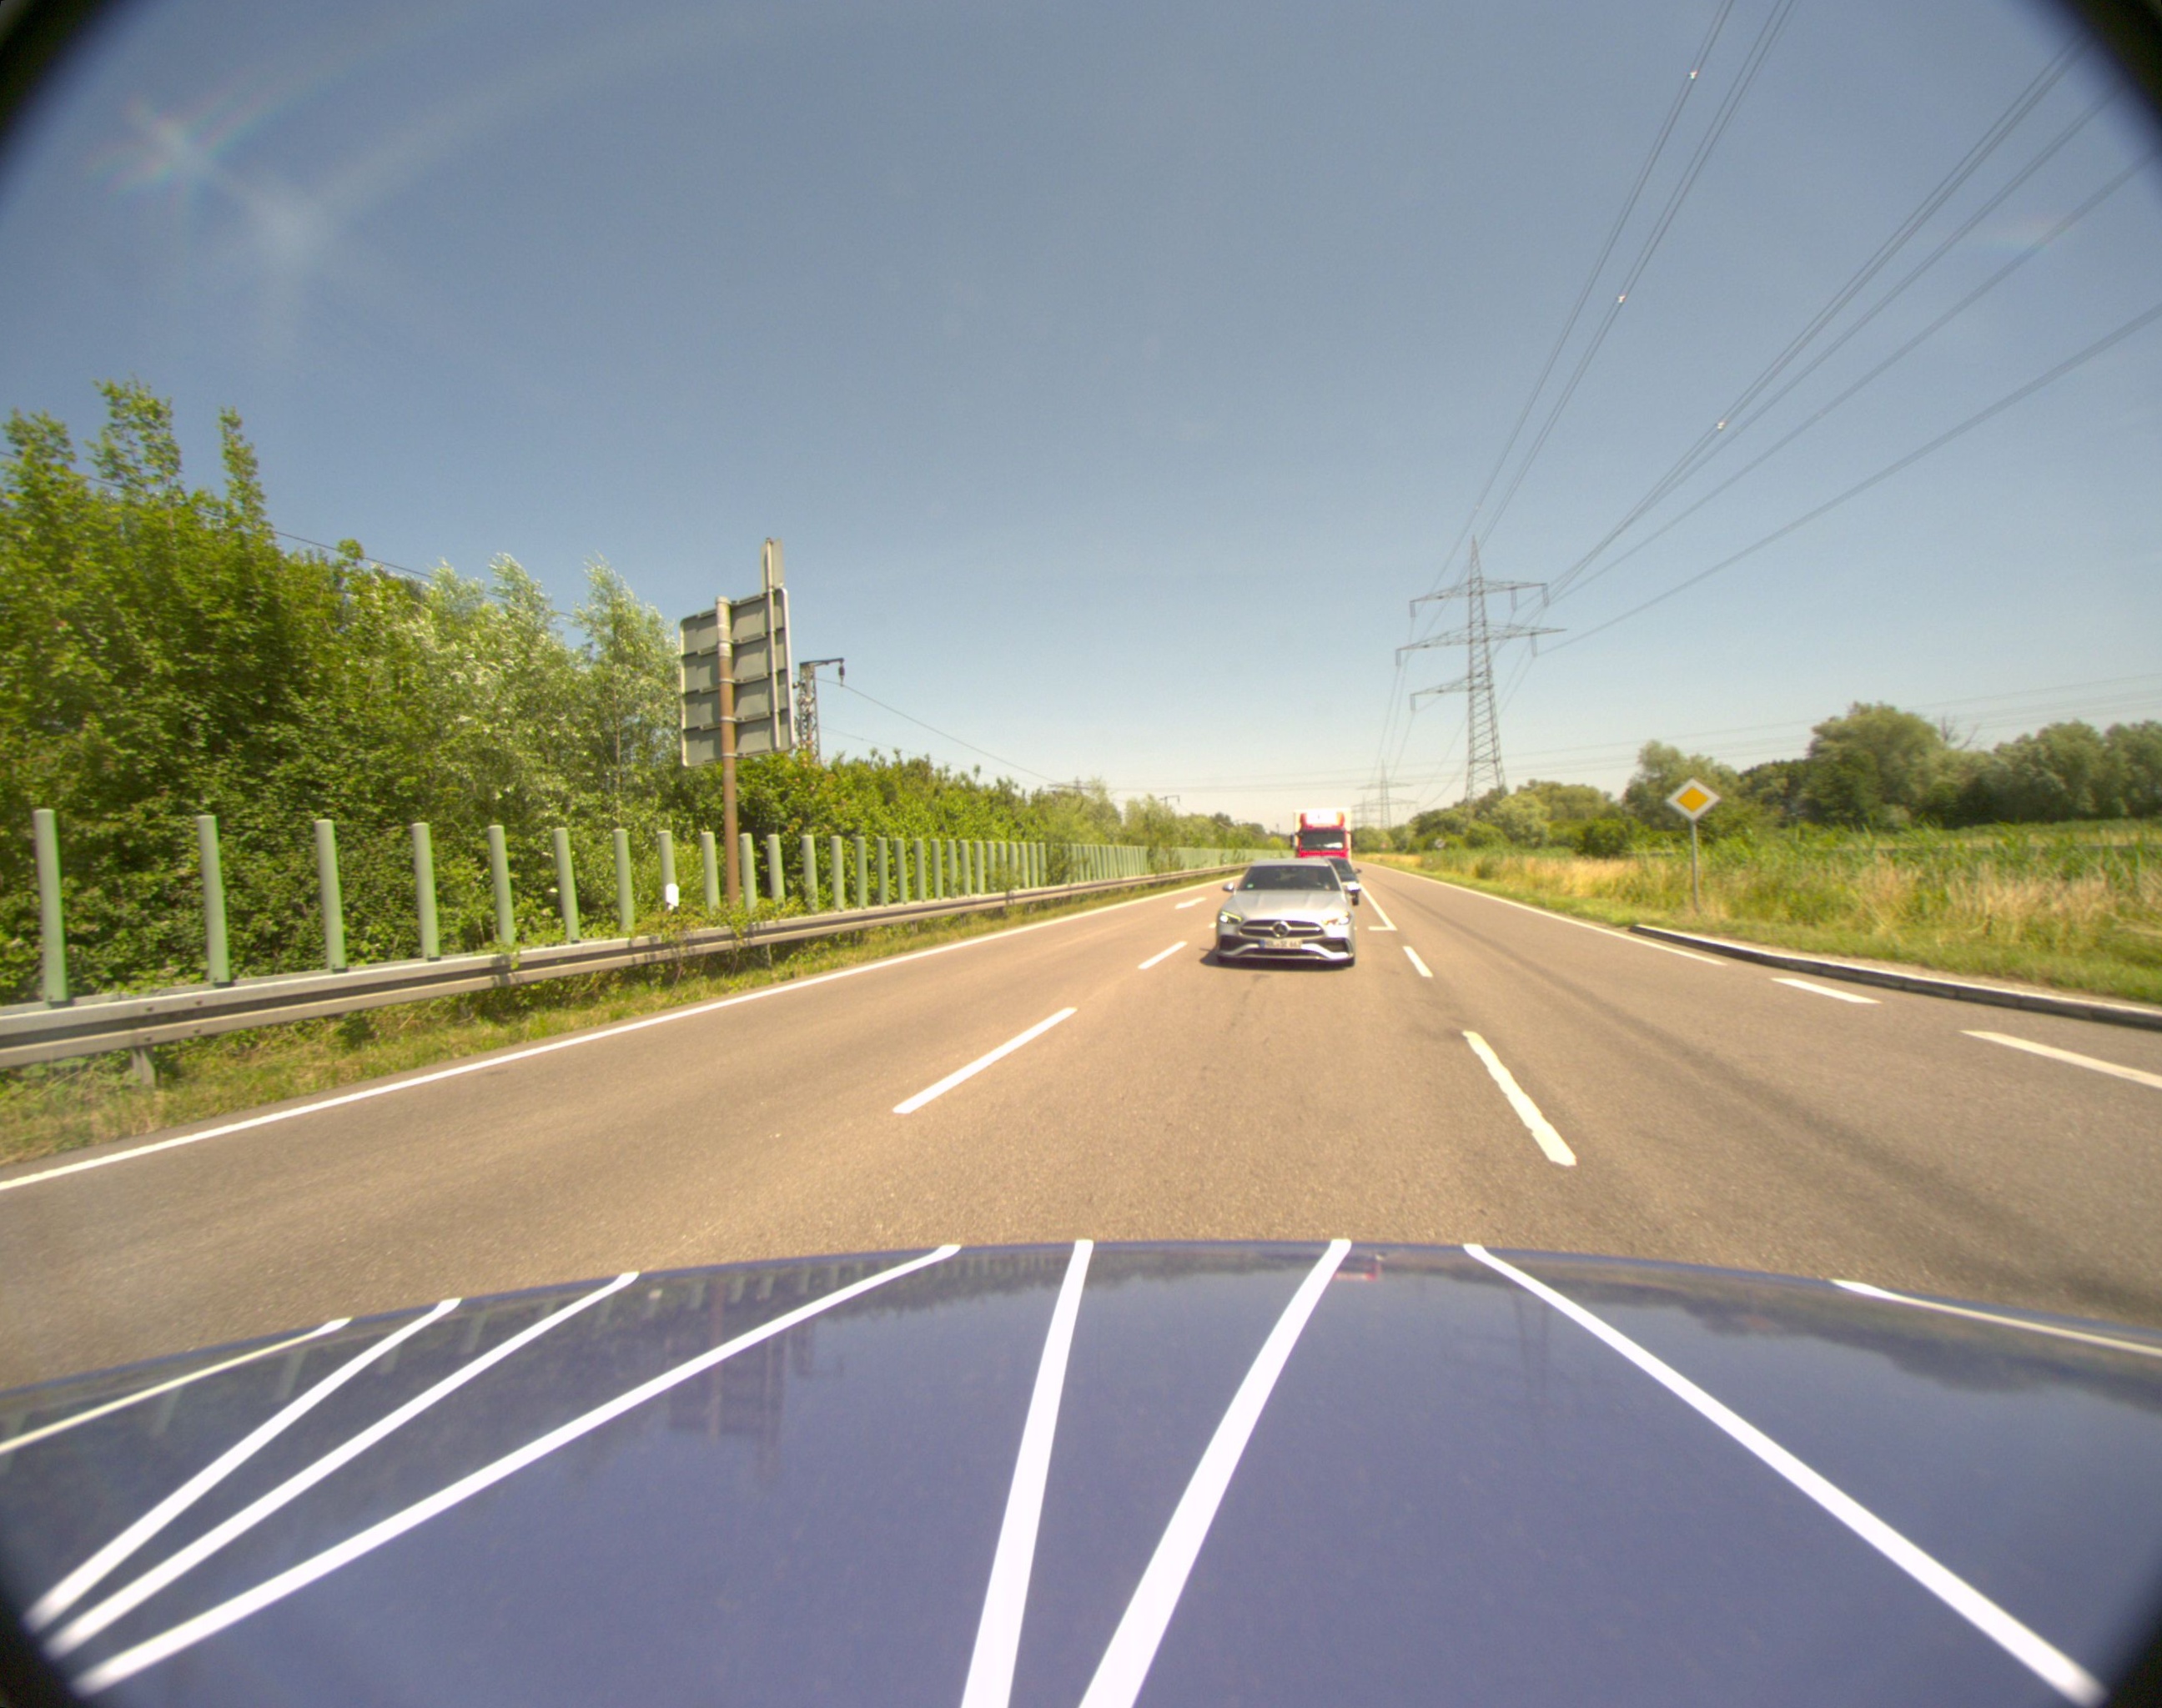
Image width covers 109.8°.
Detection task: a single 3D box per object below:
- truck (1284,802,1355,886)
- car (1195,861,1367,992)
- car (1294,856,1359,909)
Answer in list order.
[{"bbox_3d":[11.818,-0.453,37.530,2.903,3.640,7.165,-3,0,18],"label":"truck"},{"bbox_3d":[3.095,0.872,11.291,1.996,1.437,4.473,-1,1,19],"label":"car"},{"bbox_3d":[7.529,0.787,23.143,1.695,1.385,4.473,-1,0,19],"label":"car"}]
